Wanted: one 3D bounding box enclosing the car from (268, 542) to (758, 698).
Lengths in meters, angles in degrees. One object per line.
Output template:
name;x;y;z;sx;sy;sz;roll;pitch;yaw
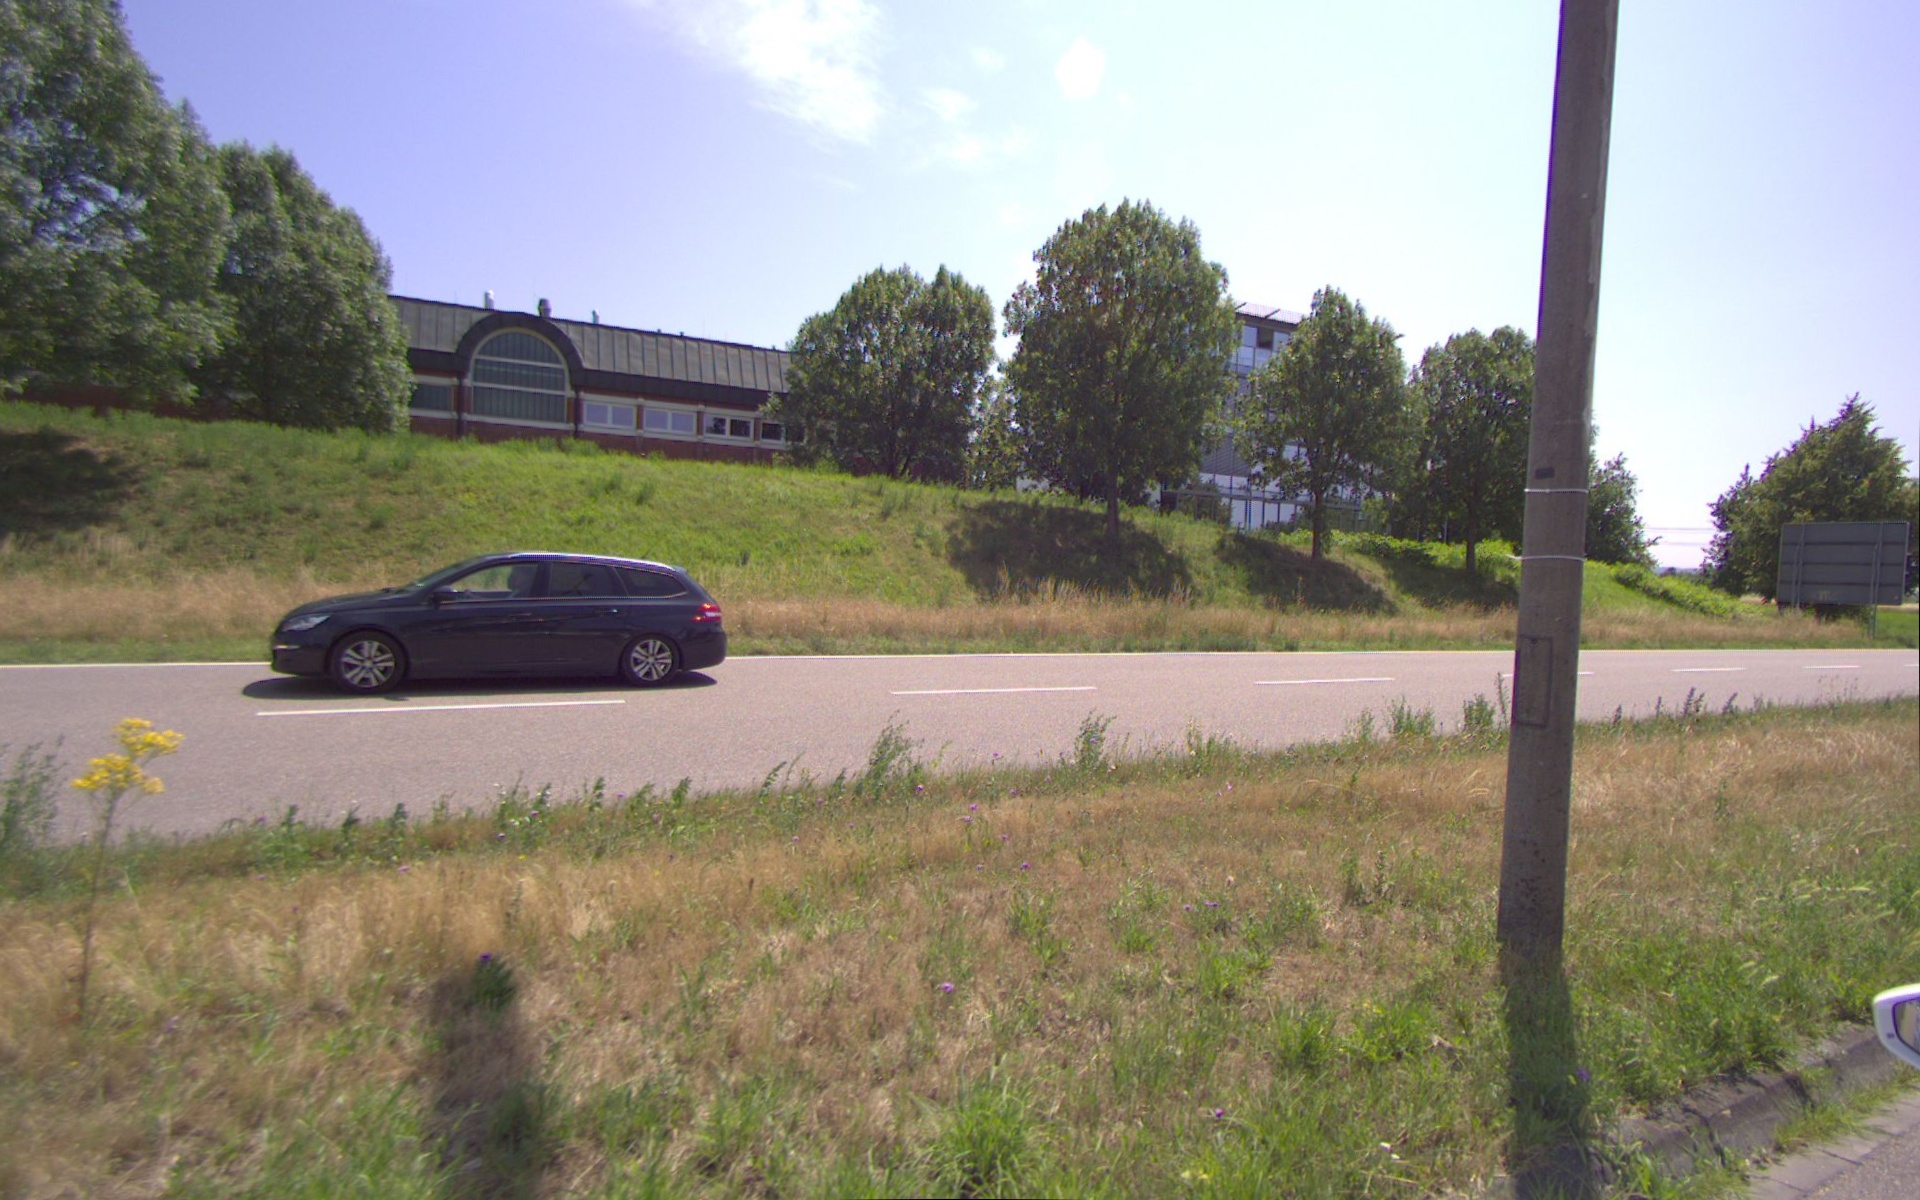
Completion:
car;-4.808;0.170;11.201;4.610;1.378;1.984;1;4;-30
